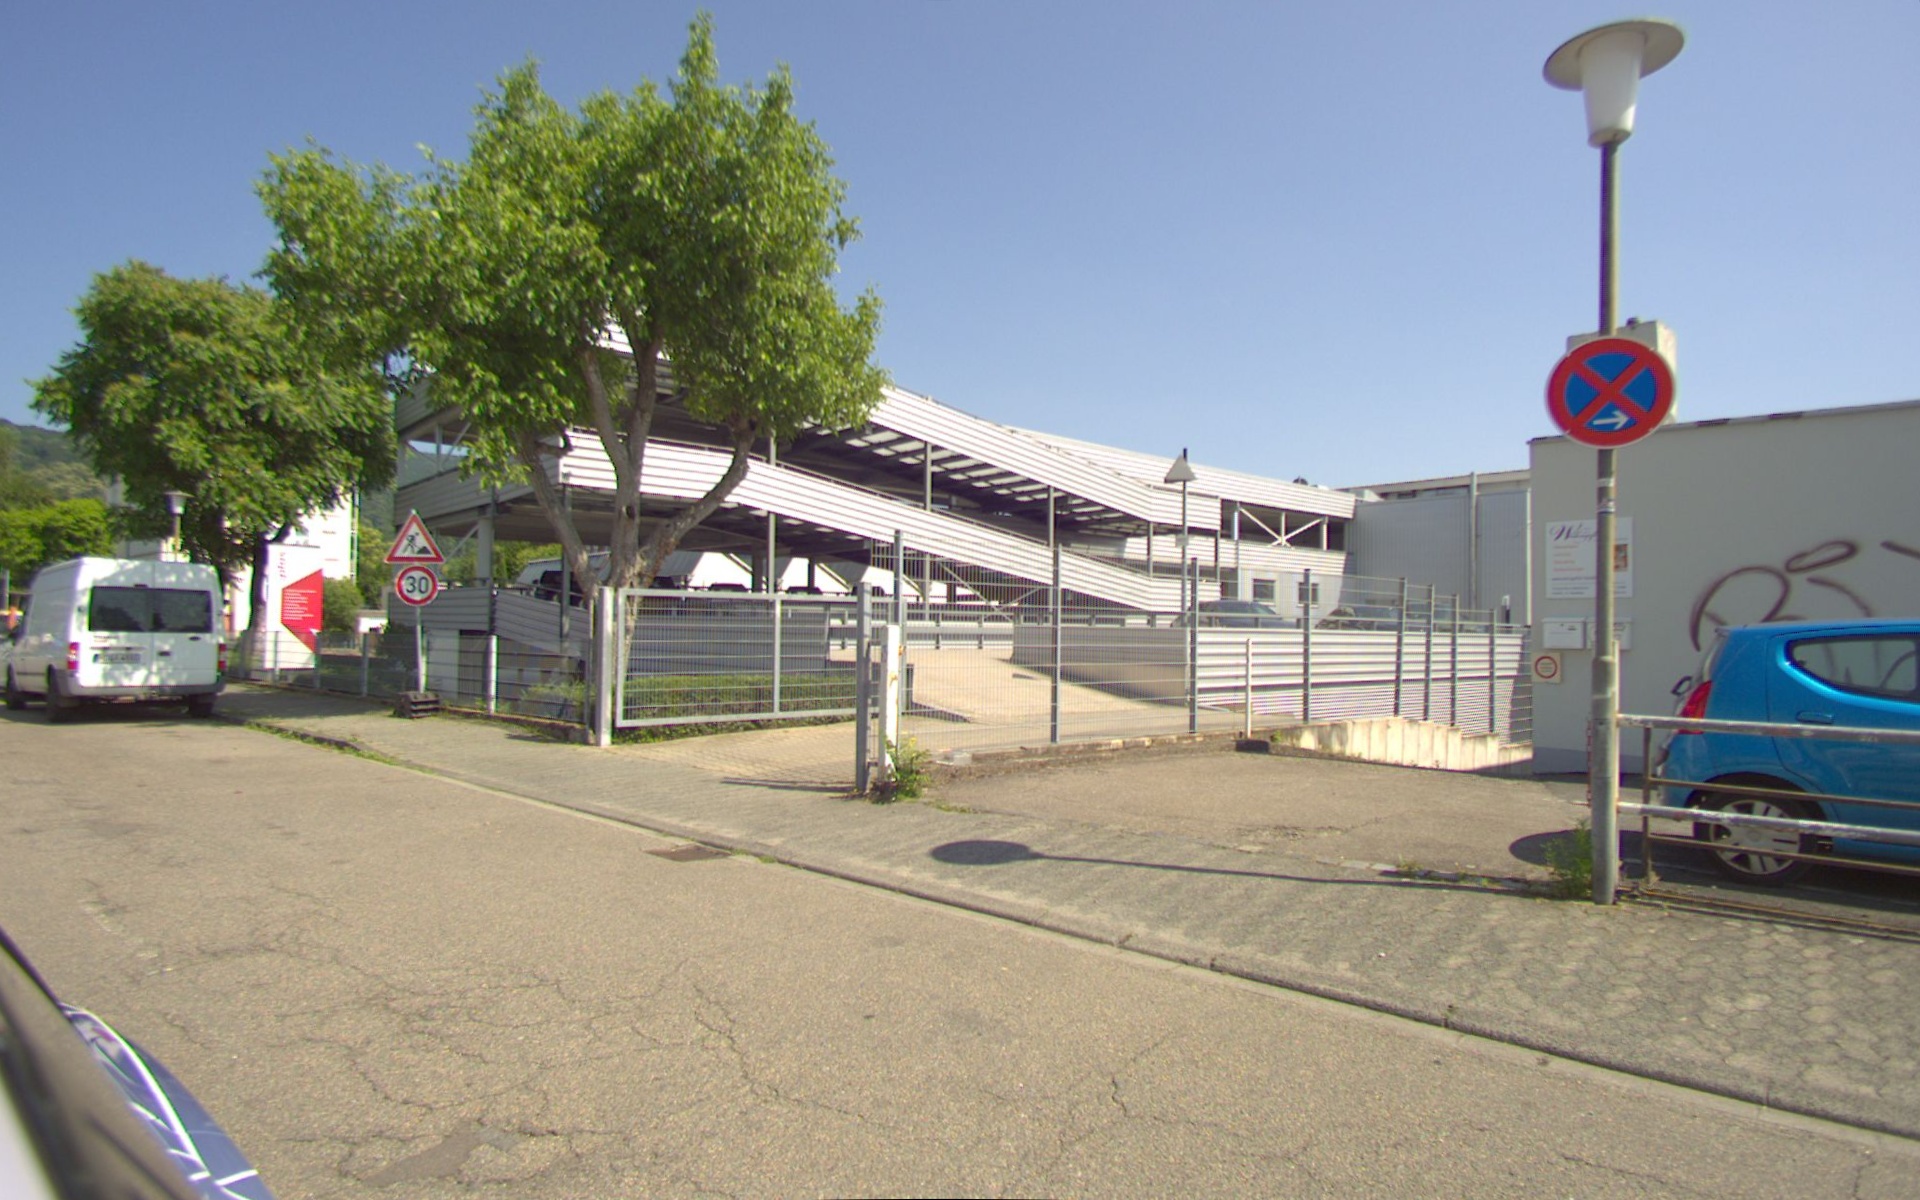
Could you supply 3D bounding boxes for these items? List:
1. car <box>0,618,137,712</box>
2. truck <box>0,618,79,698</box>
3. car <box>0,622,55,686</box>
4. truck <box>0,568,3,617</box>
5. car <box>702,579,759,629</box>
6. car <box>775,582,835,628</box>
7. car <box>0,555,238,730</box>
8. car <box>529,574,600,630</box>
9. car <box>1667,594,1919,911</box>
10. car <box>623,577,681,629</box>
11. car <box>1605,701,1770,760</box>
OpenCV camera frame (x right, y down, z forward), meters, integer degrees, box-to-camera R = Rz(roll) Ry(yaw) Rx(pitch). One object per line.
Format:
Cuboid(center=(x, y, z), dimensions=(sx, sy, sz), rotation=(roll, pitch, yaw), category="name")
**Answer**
Cuboid(center=(-17.789, 1.225, 19.714), dimensions=(3.966, 1.636, 1.689), rotation=(0, -5, 36), category="car")
Cuboid(center=(-20.402, 1.246, 22.092), dimensions=(3.137, 1.634, 1.127), rotation=(-1, -4, 39), category="truck")
Cuboid(center=(-24.008, 1.290, 25.055), dimensions=(4.109, 1.474, 1.687), rotation=(-1, -4, 39), category="car")
Cuboid(center=(-37.091, 0.505, 36.608), dimensions=(7.124, 3.392, 2.658), rotation=(0, -2, 40), category="truck")
Cuboid(center=(-8.538, 0.124, 37.410), dimensions=(1.787, 1.684, 4.012), rotation=(2, 0, -16), category="car")
Cuboid(center=(-6.169, 0.153, 39.962), dimensions=(1.787, 1.684, 4.012), rotation=(2, 0, -16), category="car")
Cuboid(center=(-13.696, 0.667, 16.246), dimensions=(5.223, 2.384, 1.985), rotation=(-1, -4, 39), category="car")
Cuboid(center=(-12.902, 0.053, 33.220), dimensions=(1.787, 1.684, 4.012), rotation=(2, 0, -16), category="car")
Cuboid(center=(5.892, 0.775, 5.126), dimensions=(3.671, 1.542, 1.796), rotation=(-1, -4, 39), category="car")
Cuboid(center=(-10.679, 0.085, 35.241), dimensions=(1.787, 1.684, 4.012), rotation=(2, 0, -16), category="car")
Cuboid(center=(24.030, 4.271, 33.563), dimensions=(1.529, 1.540, 4.232), rotation=(3, -3, -44), category="car")
